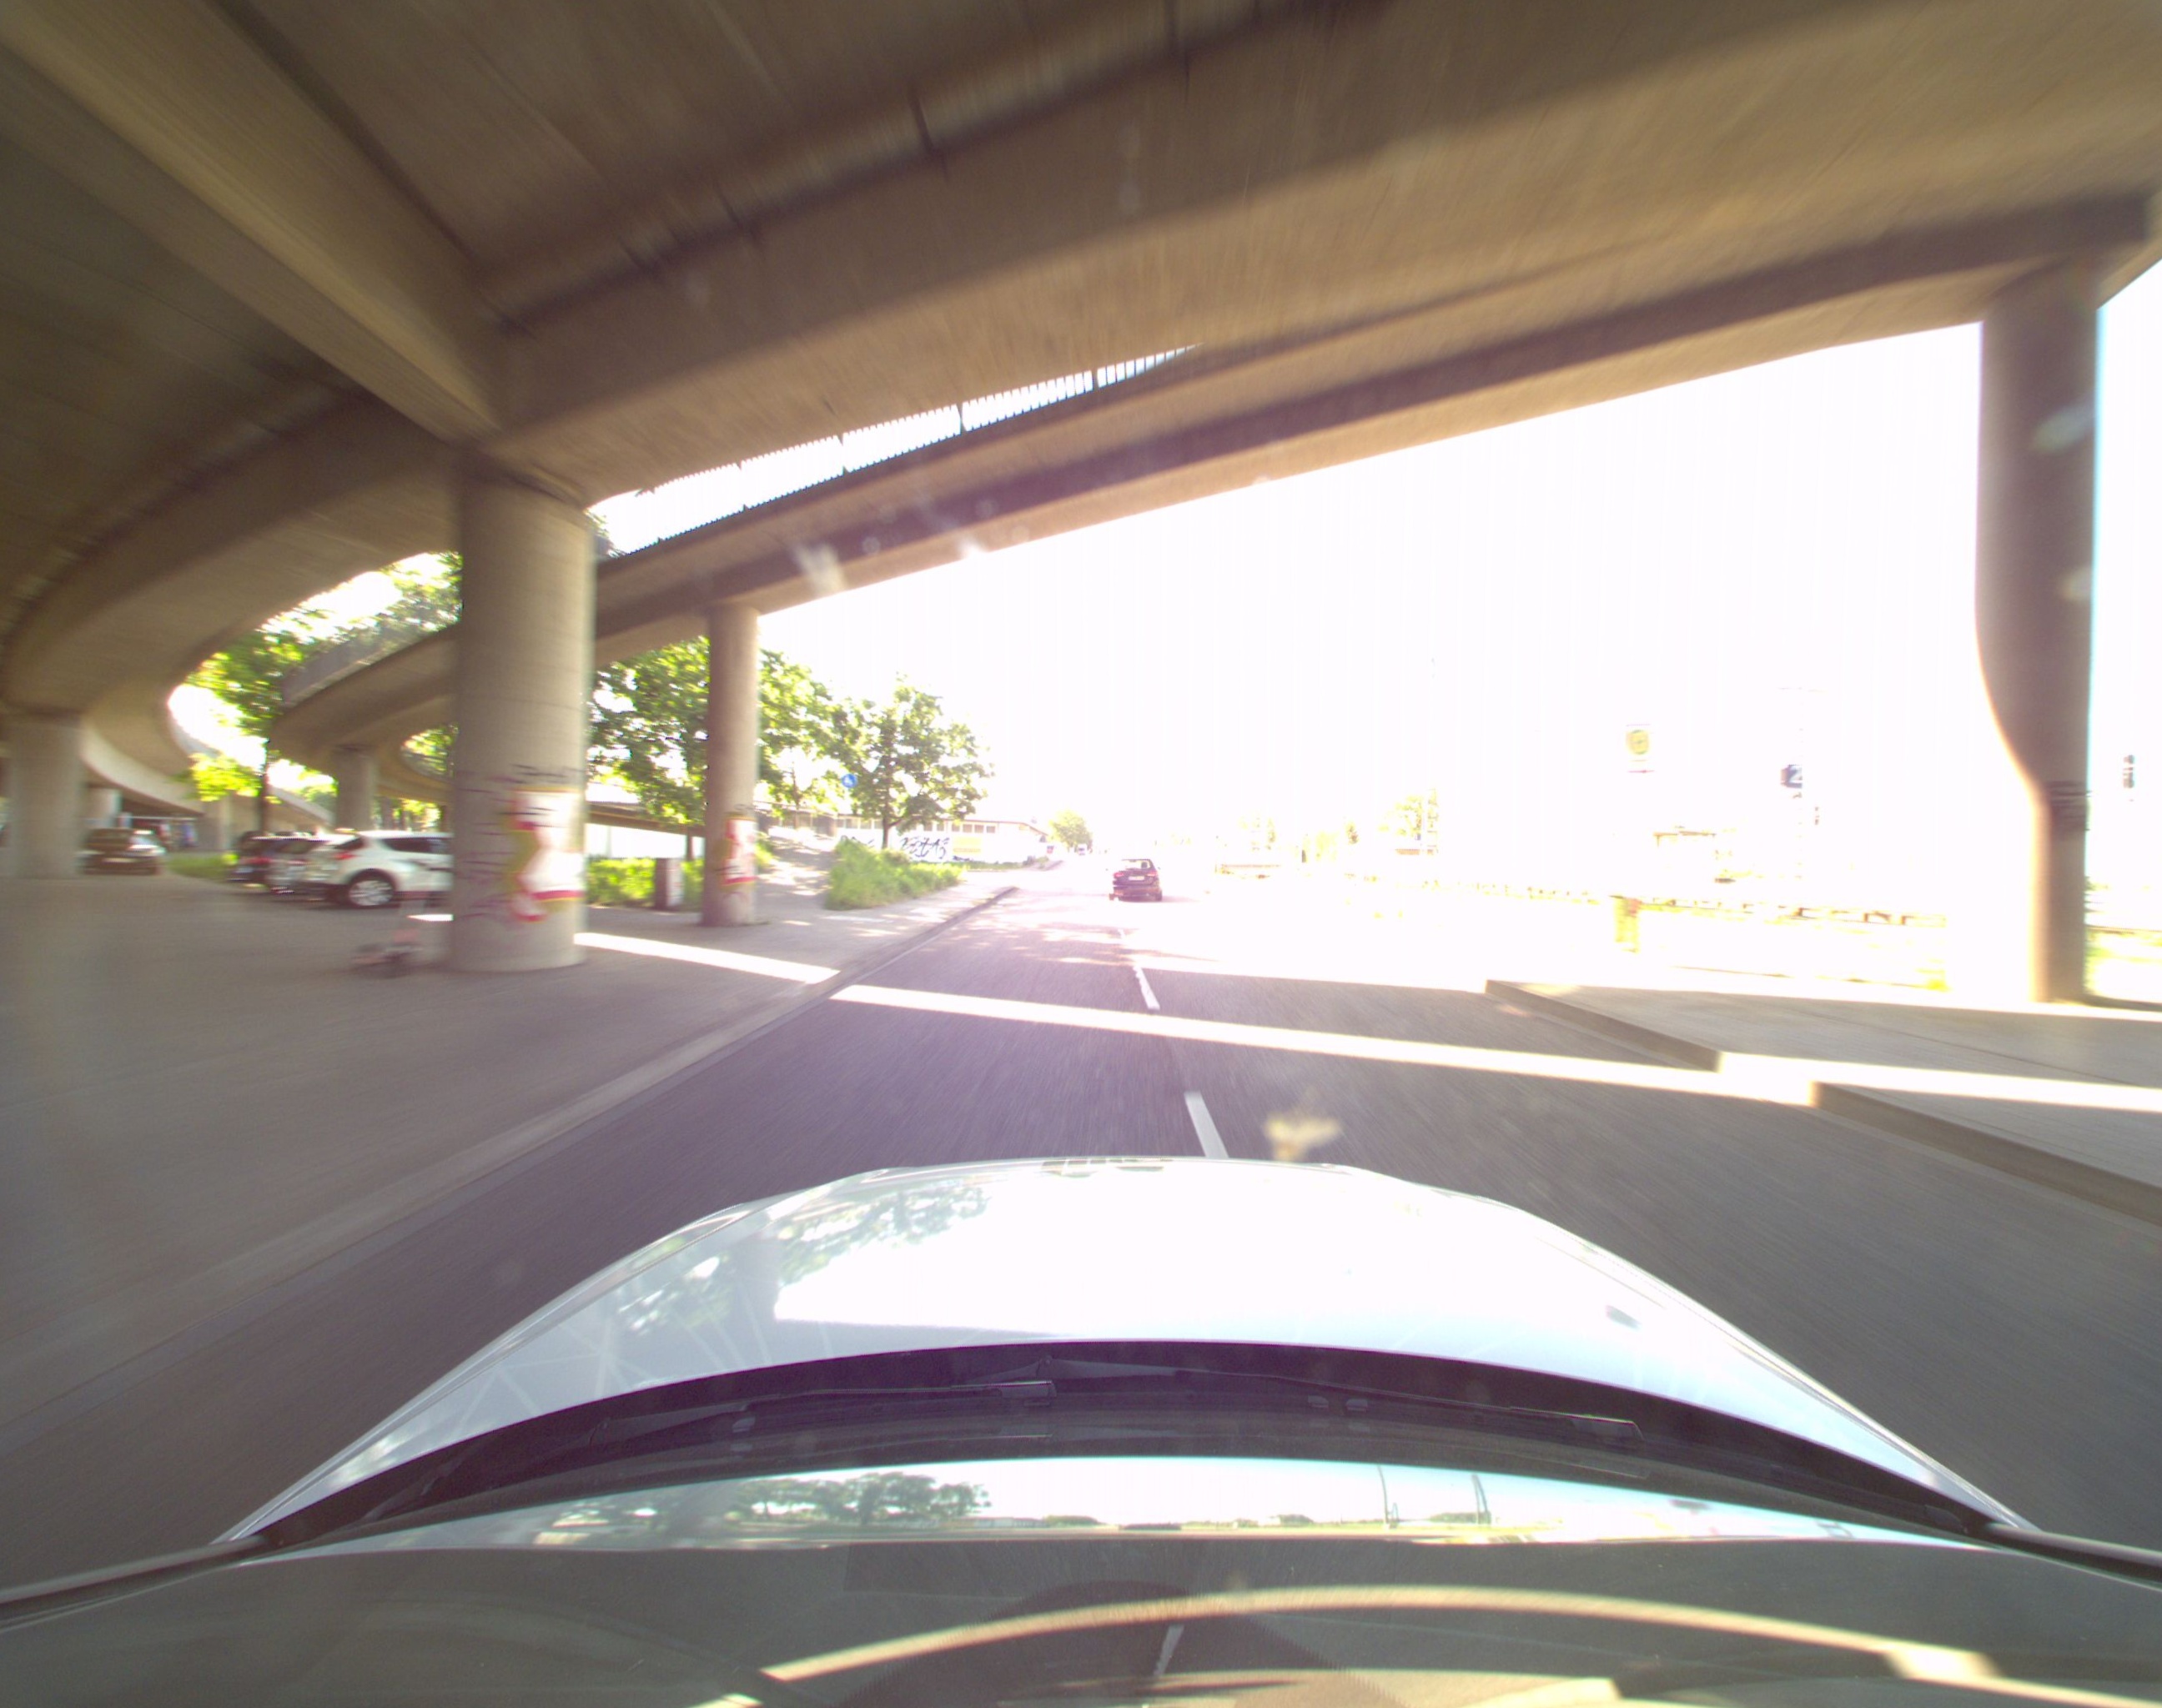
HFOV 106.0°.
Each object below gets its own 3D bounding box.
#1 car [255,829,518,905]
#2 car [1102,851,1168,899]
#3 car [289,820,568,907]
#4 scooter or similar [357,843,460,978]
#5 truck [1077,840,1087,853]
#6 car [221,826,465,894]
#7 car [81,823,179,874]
[{"bbox_3d":[-15.966,0.264,18.995,1.662,1.552,4.325,1,0,30],"label":"car"},{"bbox_3d":[1.756,0.658,27.686,1.936,1.488,4.564,0,0,0],"label":"car"},{"bbox_3d":[-13.823,0.182,17.526,1.845,1.642,4.309,-2,-1,34],"label":"car"},{"bbox_3d":[-7.086,0.546,8.567,1.292,1.300,0.582,1,0,40],"label":"scooter or similar"},{"bbox_3d":[0.396,-2.289,256.411,2.606,3.885,13.523,2,0,-2],"label":"truck"},{"bbox_3d":[-18.770,0.127,20.952,1.662,1.552,4.325,1,0,30],"label":"car"},{"bbox_3d":[-31.342,-0.196,26.811,4.243,1.552,1.694,1,0,35],"label":"car"}]
